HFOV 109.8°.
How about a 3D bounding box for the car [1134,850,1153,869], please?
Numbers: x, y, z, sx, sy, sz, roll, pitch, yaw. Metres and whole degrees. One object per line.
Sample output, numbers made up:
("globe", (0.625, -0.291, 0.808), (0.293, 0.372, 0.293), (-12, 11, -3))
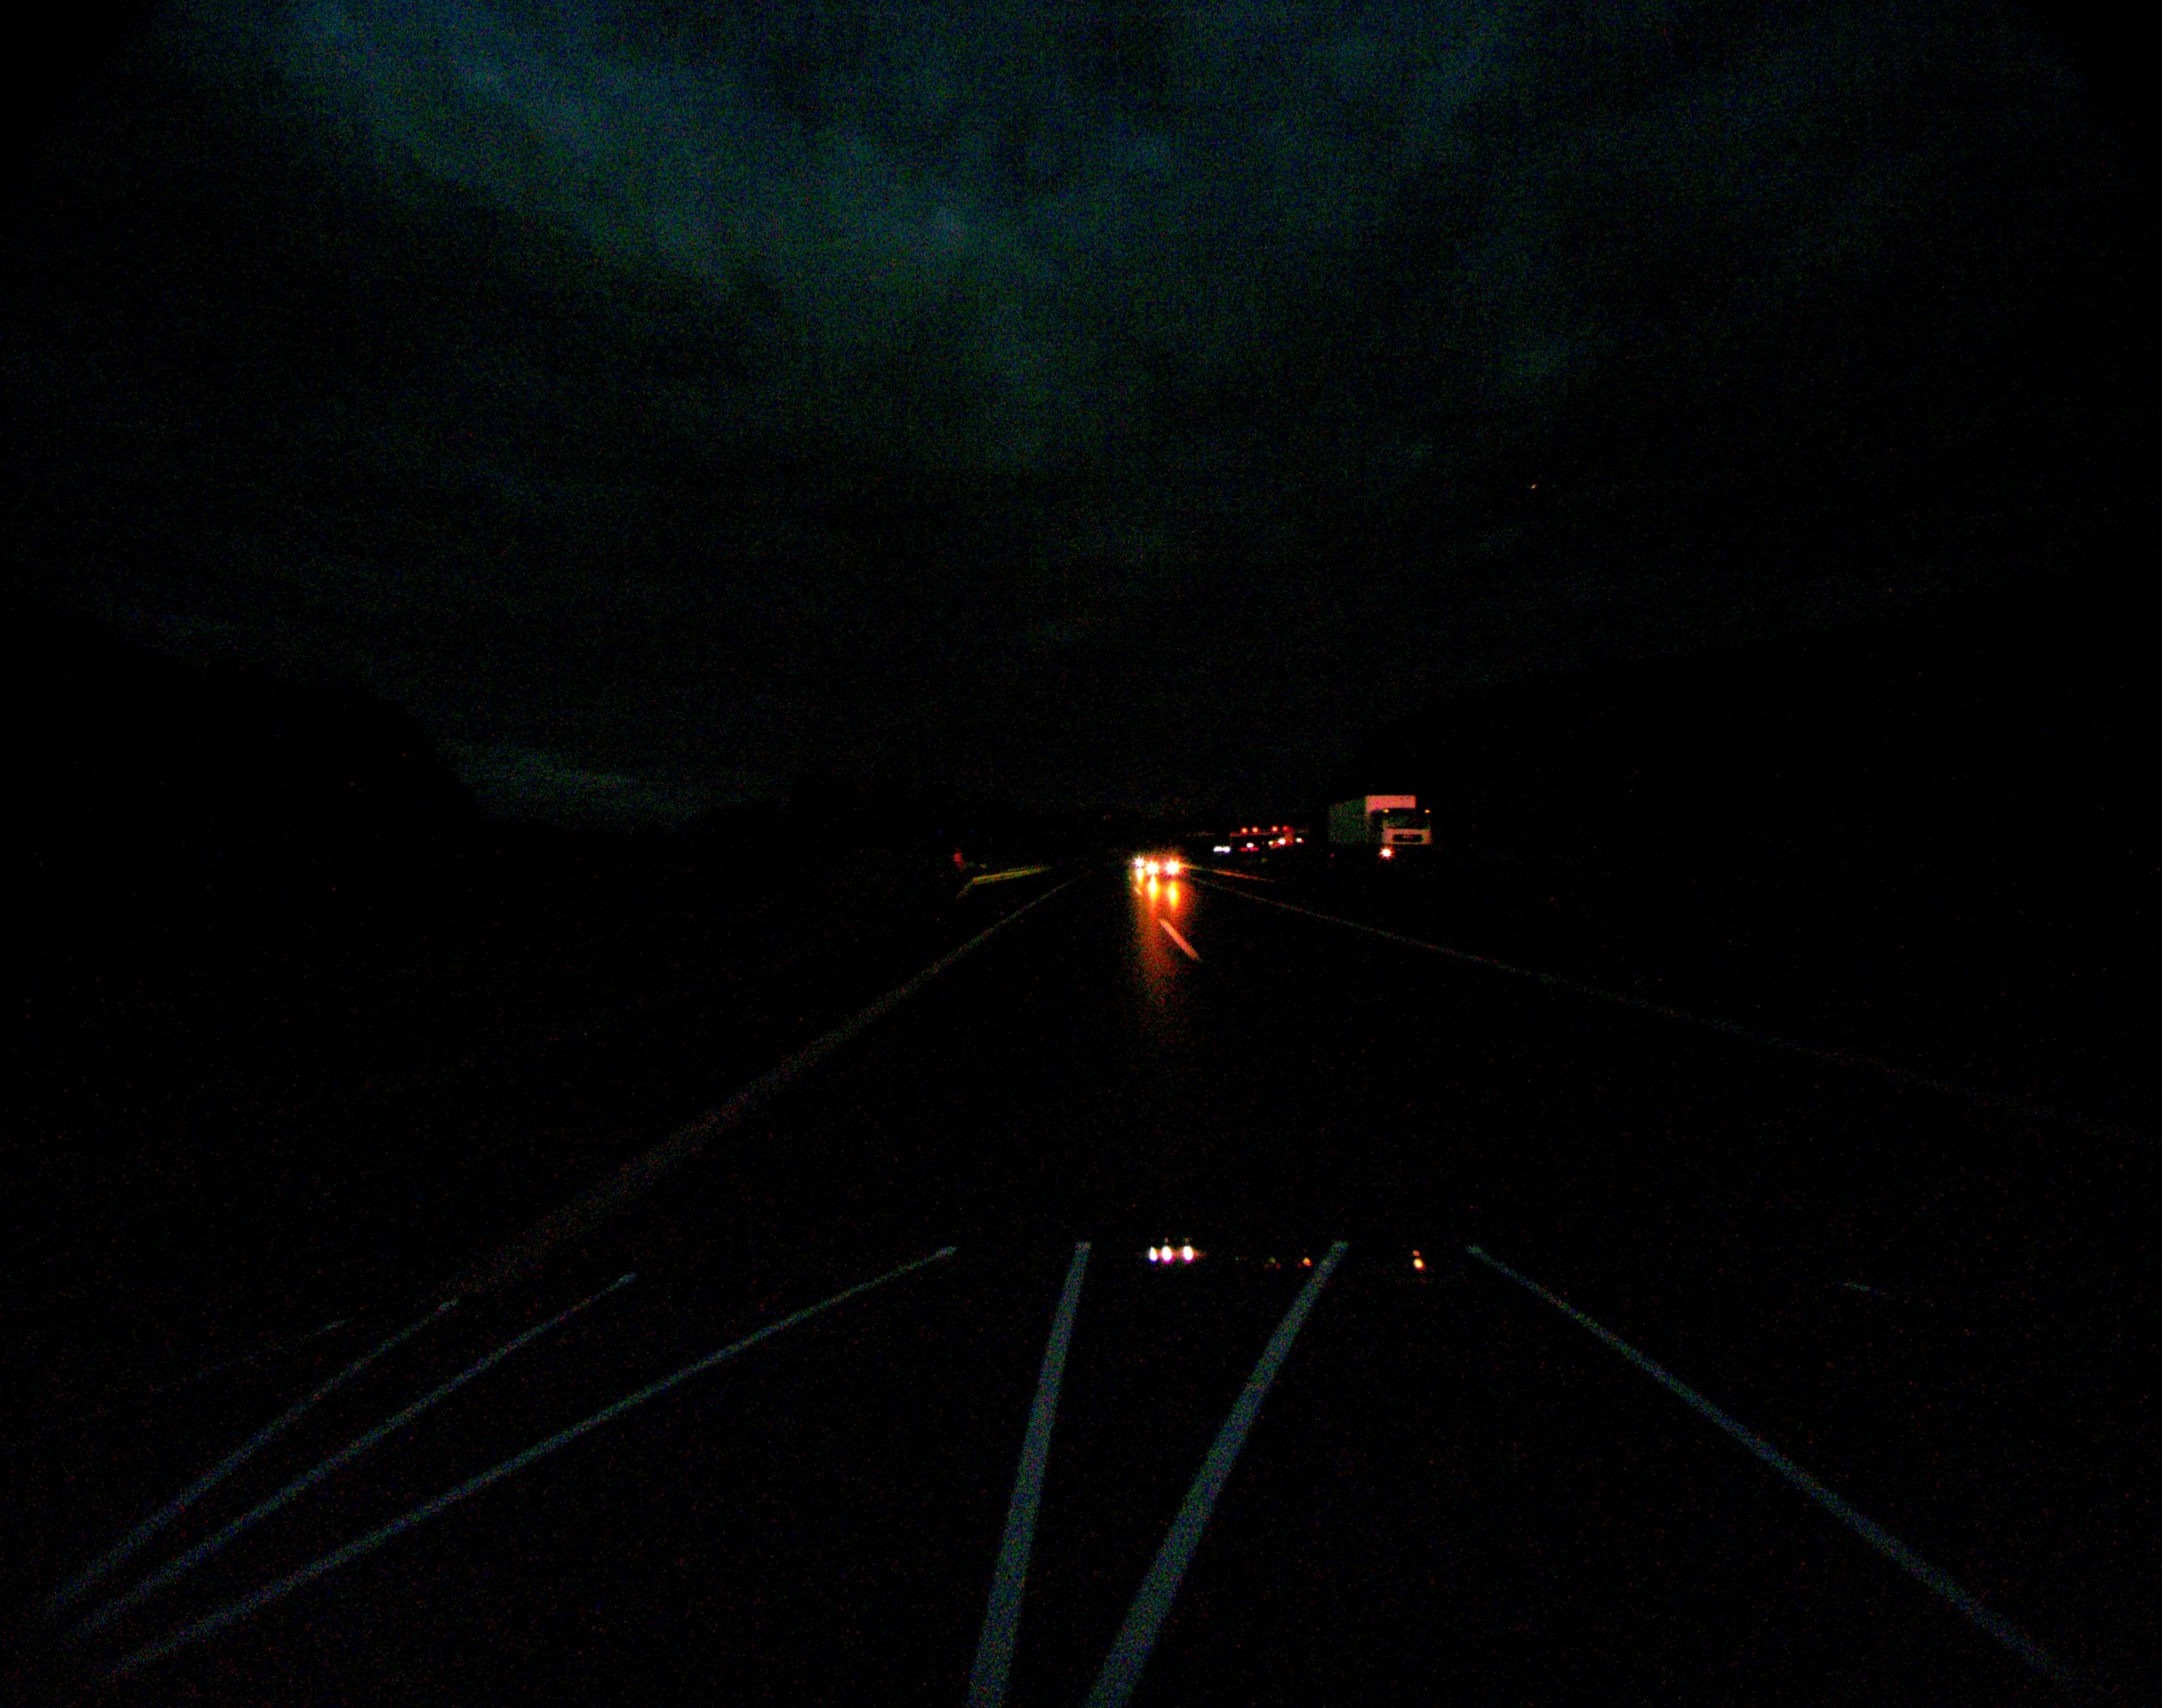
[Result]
("car", (6.942, 0.610, 85.066), (1.998, 2.002, 4.001), (-2, 1, 4))

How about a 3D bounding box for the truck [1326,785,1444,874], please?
("truck", (16.606, -1.251, 42.441), (3.045, 4.276, 9.892), (-2, 1, 4))

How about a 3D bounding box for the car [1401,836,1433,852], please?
("car", (36.298, -1.128, 82.092), (1.896, 1.610, 4.001), (-2, 1, 4))

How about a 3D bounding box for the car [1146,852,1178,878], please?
("car", (5.109, 0.659, 48.416), (1.669, 1.551, 3.757), (-2, 0, 1))
